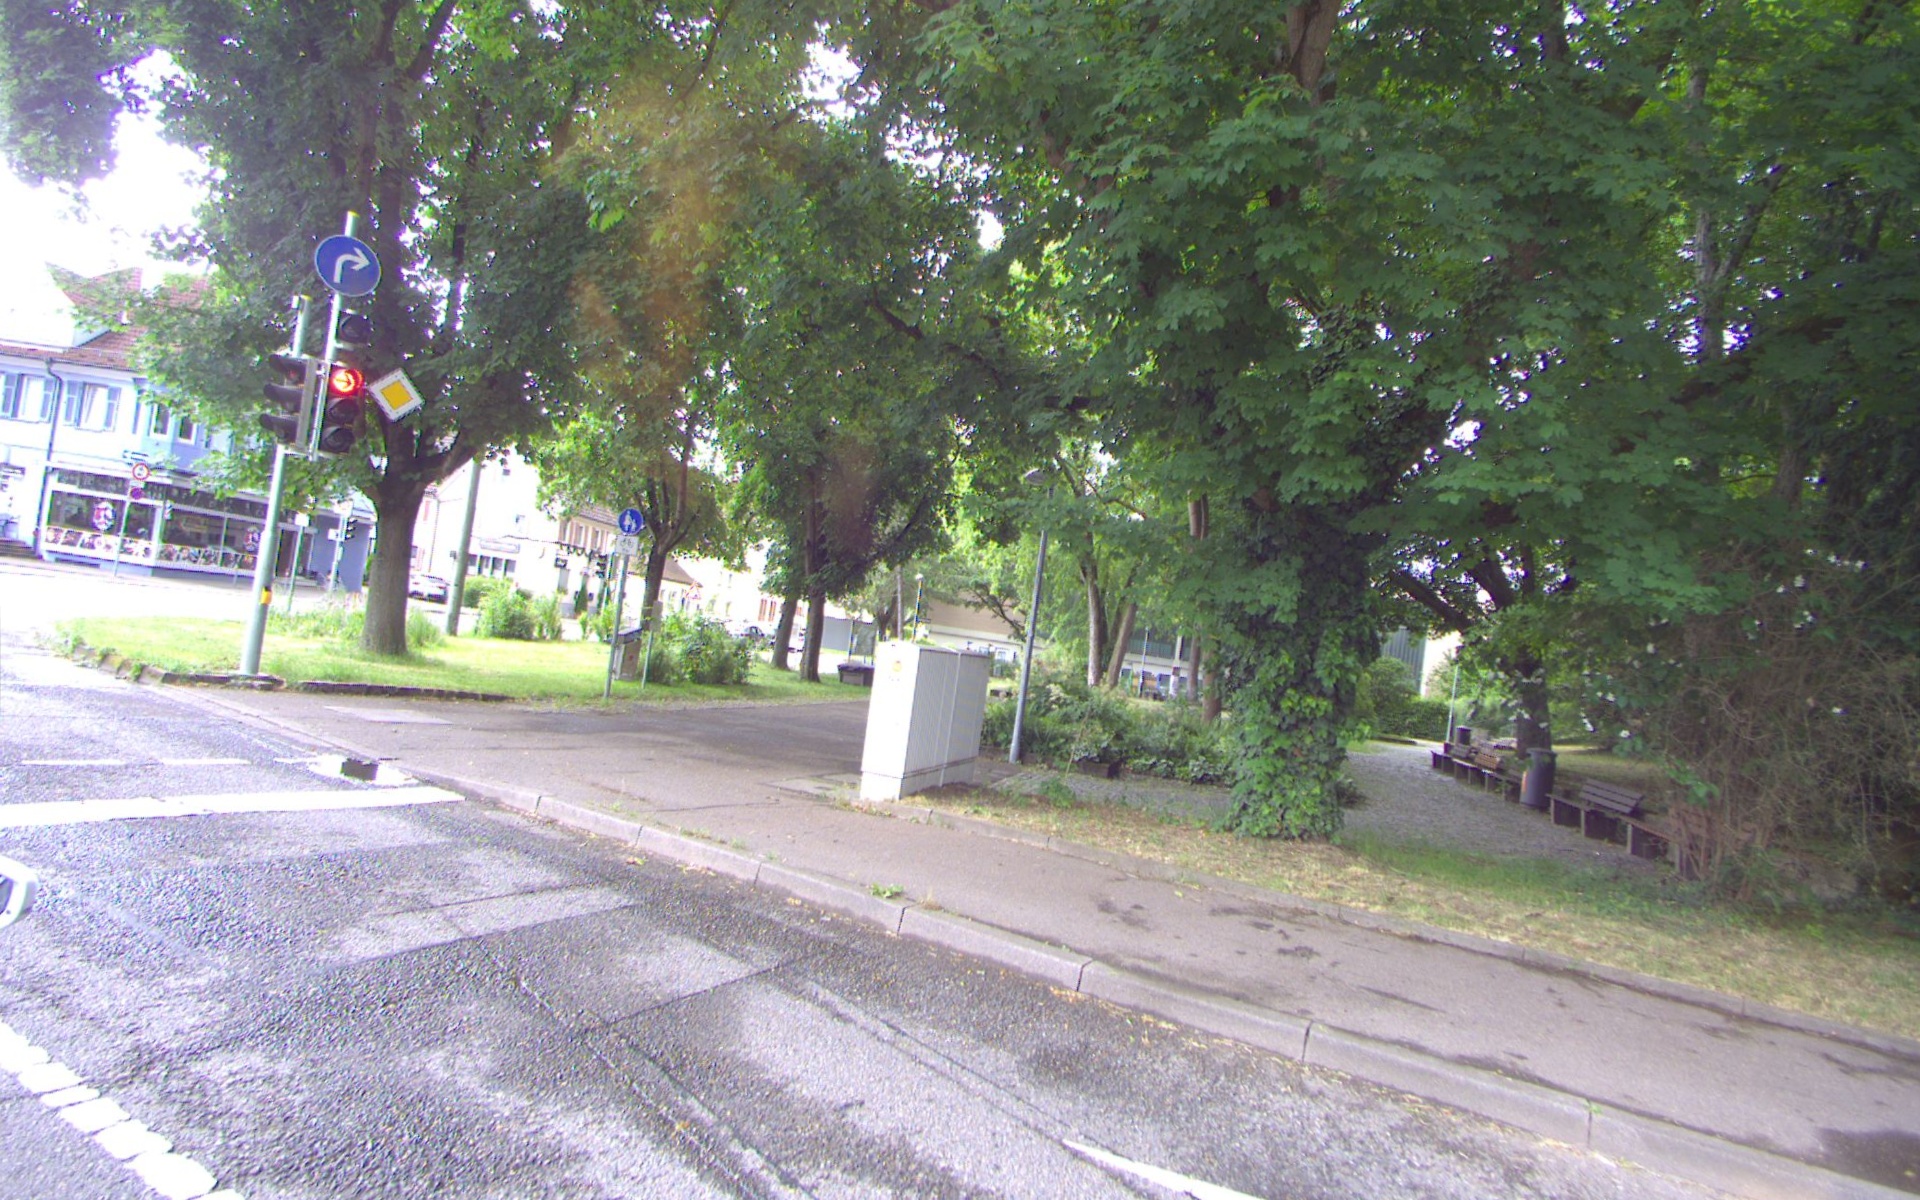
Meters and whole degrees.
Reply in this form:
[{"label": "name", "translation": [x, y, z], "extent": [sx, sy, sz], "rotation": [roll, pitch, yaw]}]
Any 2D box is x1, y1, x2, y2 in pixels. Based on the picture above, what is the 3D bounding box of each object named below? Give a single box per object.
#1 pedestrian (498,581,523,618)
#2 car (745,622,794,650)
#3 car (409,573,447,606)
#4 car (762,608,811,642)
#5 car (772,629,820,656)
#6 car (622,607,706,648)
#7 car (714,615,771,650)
[{"label": "pedestrian", "translation": [-22.479, -0.006, 50.342], "extent": [0.743, 1.716, 0.647], "rotation": [7, -1, 3]}, {"label": "car", "translation": [-11.361, 2.180, 60.250], "extent": [1.706, 1.406, 3.746], "rotation": [7, -2, 6]}, {"label": "car", "translation": [-28.125, -0.552, 53.201], "extent": [1.554, 1.478, 3.417], "rotation": [9, -3, -27]}, {"label": "car", "translation": [-14.890, 2.198, 86.690], "extent": [2.292, 2.419, 5.967], "rotation": [7, -2, 6]}, {"label": "car", "translation": [-10.777, 2.824, 66.452], "extent": [1.888, 1.472, 4.408], "rotation": [7, -3, 6]}, {"label": "car", "translation": [-13.146, 1.271, 44.957], "extent": [1.864, 1.472, 4.553], "rotation": [7, -3, 6]}, {"label": "car", "translation": [-11.836, 1.801, 54.998], "extent": [1.838, 1.589, 4.004], "rotation": [7, -2, 4]}]
